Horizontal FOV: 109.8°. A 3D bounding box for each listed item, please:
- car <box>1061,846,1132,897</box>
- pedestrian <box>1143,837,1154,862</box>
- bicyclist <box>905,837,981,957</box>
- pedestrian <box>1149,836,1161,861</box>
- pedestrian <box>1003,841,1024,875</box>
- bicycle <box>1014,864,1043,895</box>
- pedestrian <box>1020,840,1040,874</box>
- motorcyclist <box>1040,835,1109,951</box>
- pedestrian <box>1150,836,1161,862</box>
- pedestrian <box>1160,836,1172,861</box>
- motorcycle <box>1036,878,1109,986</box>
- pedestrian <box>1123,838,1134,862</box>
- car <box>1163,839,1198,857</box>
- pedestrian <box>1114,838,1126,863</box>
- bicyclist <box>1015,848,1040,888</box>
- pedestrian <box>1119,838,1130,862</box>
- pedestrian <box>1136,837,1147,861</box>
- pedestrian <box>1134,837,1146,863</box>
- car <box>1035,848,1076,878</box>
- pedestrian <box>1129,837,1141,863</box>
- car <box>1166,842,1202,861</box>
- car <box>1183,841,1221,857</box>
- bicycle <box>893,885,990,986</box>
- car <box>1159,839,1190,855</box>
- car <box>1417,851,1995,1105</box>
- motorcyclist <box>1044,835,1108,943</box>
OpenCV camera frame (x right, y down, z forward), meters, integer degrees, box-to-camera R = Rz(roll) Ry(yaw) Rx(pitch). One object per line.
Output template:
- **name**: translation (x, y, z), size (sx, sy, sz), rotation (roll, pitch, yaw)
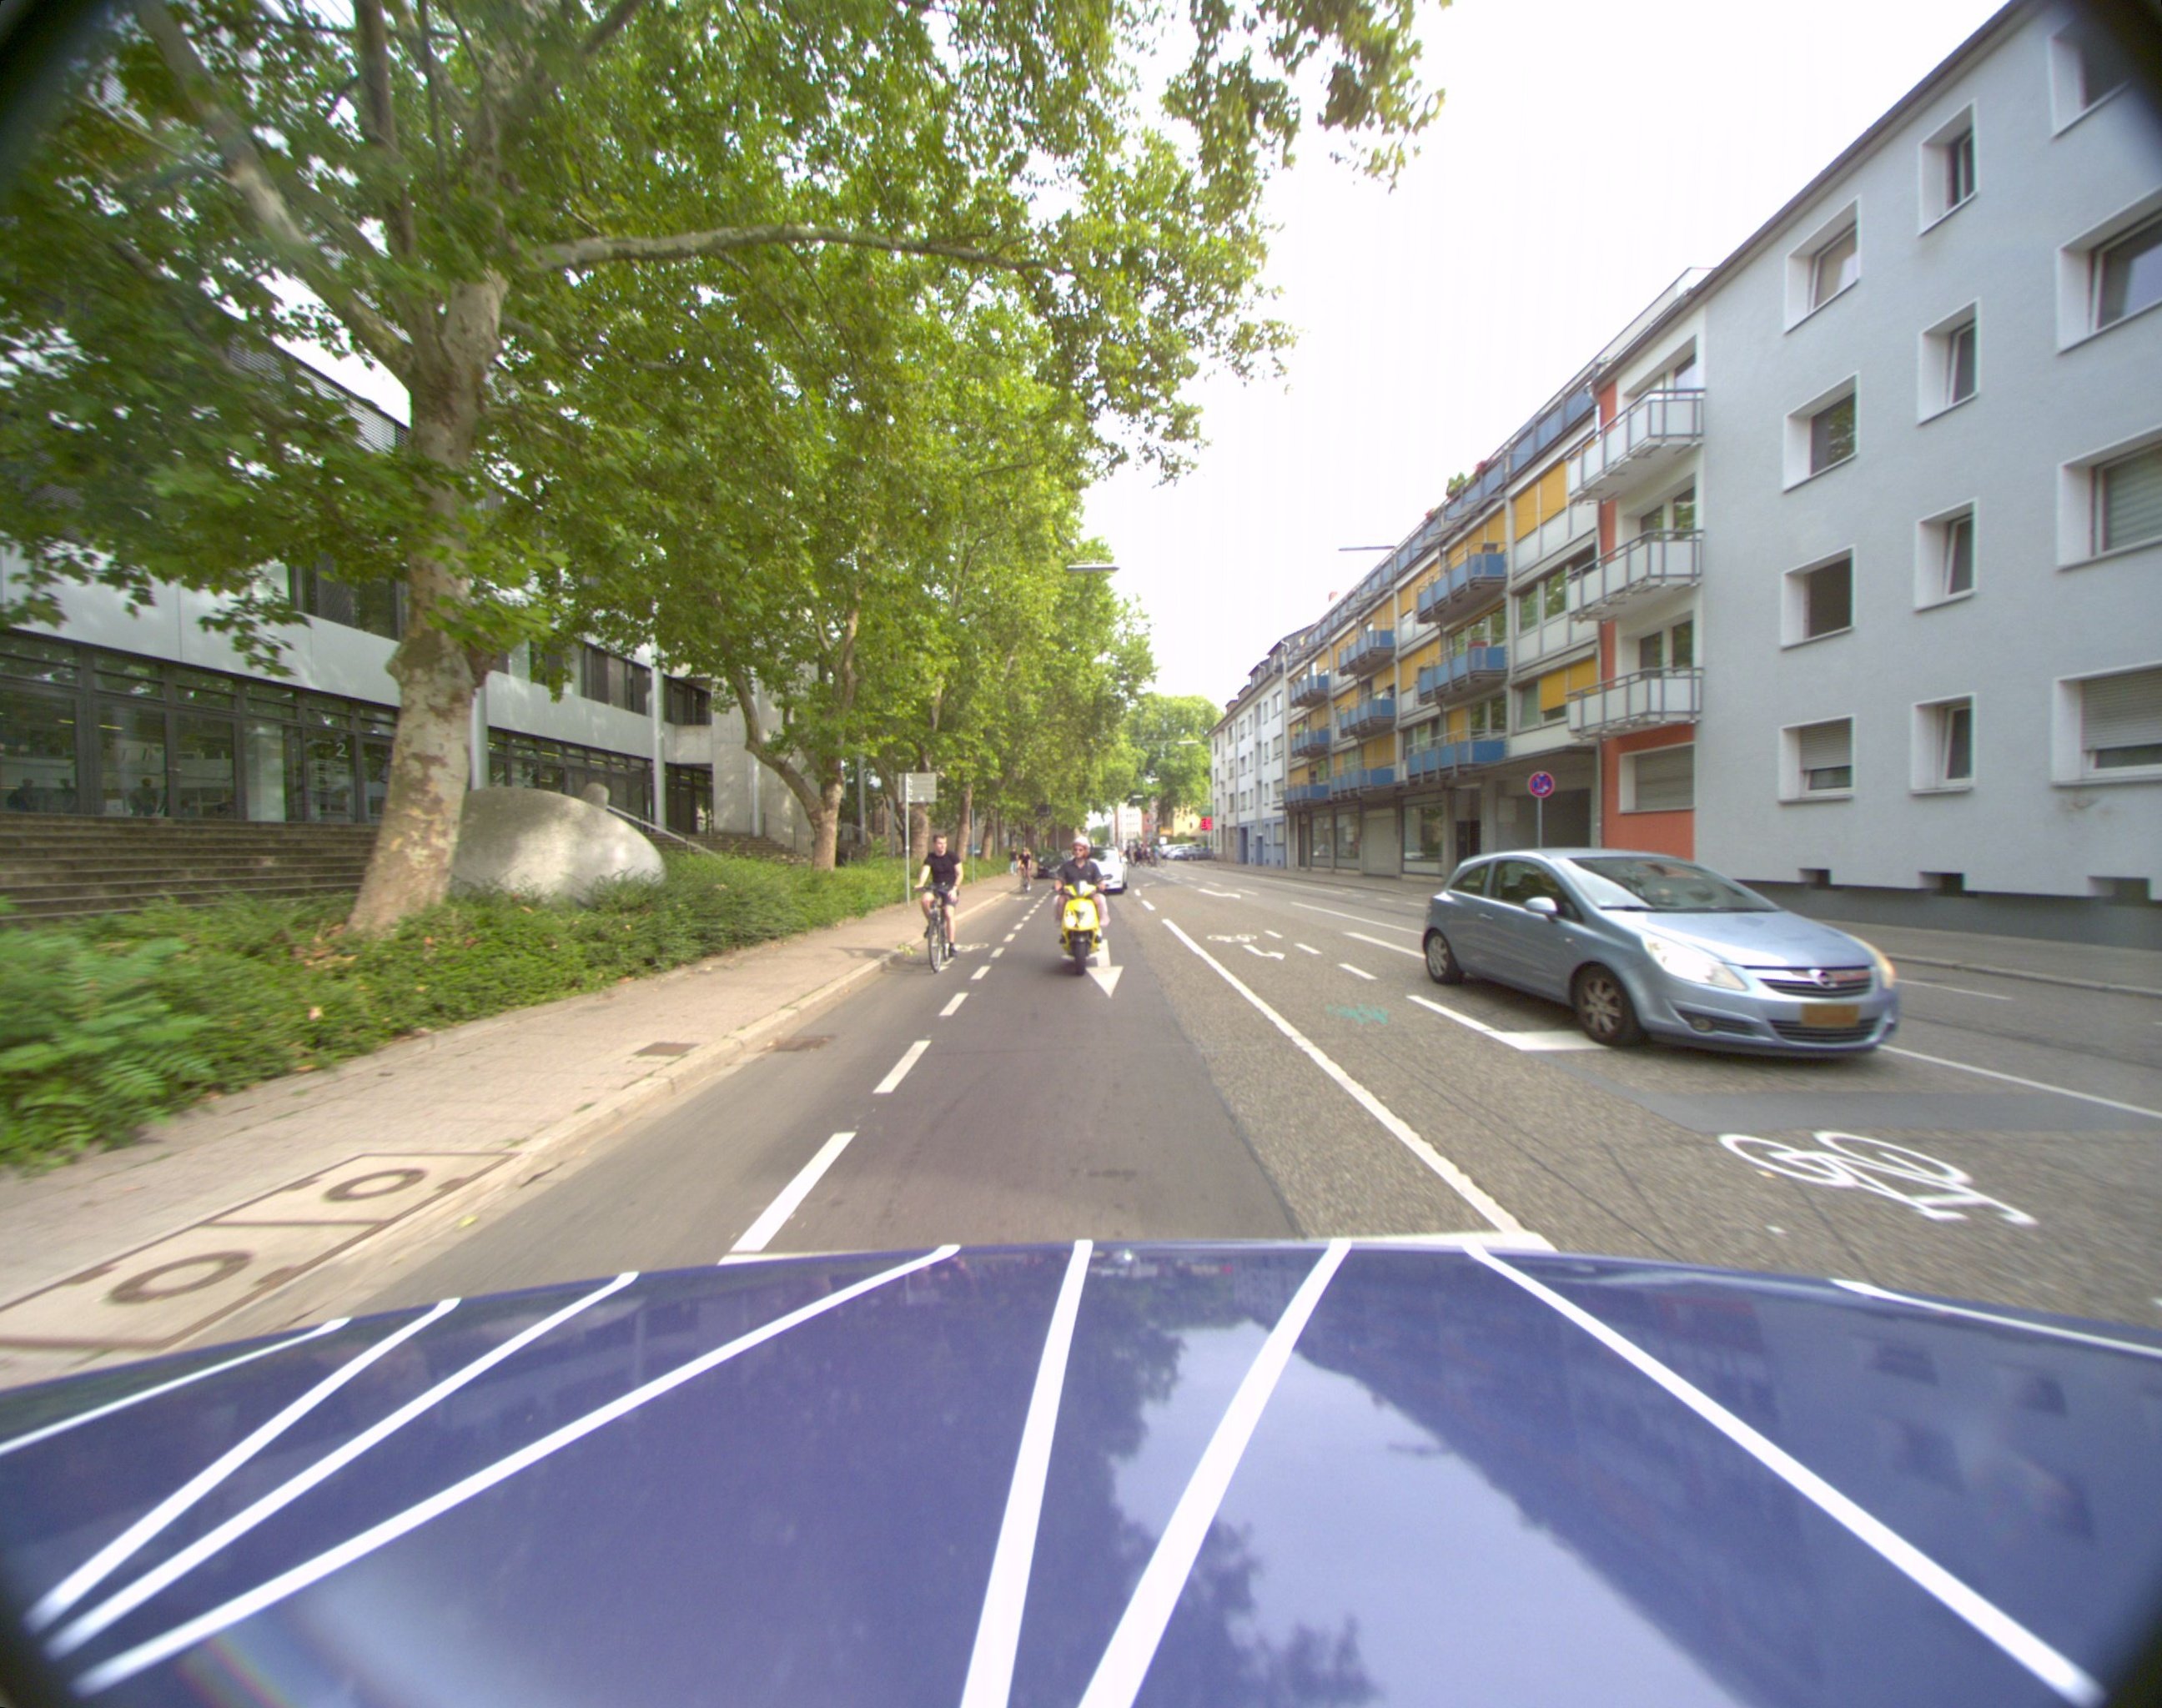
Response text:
- **car**: translation (0.635, 0.545, 26.710), size (1.997, 1.543, 4.523), rotation (-2, 1, 7)
- **pedestrian**: translation (5.600, -0.407, 62.804), size (0.842, 2.002, 0.875), rotation (-2, 1, 5)
- **bicyclist**: translation (-1.906, 0.581, 10.619), size (0.773, 1.574, 0.801), rotation (-3, 1, 4)
- **pedestrian**: translation (6.164, -0.438, 63.252), size (0.842, 2.002, 0.875), rotation (-2, 1, 5)
- **pedestrian**: translation (-4.086, 0.235, 46.074), size (1.003, 2.002, 0.997), rotation (-3, 1, 2)
- **bicycle**: translation (-1.964, 0.930, 28.637), size (0.770, 1.009, 2.408), rotation (-3, 1, 3)
- **pedestrian**: translation (-3.091, 0.200, 46.110), size (1.003, 2.002, 0.997), rotation (-3, 1, 2)
- **motorcyclist**: translation (-0.069, 0.488, 9.865), size (0.781, 1.419, 0.764), rotation (-3, 1, 3)
- **pedestrian**: translation (5.979, -0.400, 60.927), size (0.842, 2.002, 0.875), rotation (-2, 1, 5)
- **pedestrian**: translation (6.845, -0.440, 61.028), size (0.842, 2.002, 0.875), rotation (-2, 1, 5)
- **motorcycle**: translation (-0.066, 0.955, 9.977), size (0.781, 1.171, 1.993), rotation (-3, 0, 3)
- **pedestrian**: translation (3.957, -0.341, 63.438), size (0.842, 2.002, 0.875), rotation (-2, 1, 5)
- **car**: translation (12.285, -0.784, 93.881), size (3.997, 2.002, 2.000), rotation (-3, 1, 0)
- **pedestrian**: translation (3.215, -0.298, 62.749), size (0.842, 2.002, 0.875), rotation (-2, 1, 5)
- **bicyclist**: translation (-1.996, 0.531, 28.607), size (0.784, 1.438, 0.914), rotation (-3, 1, 2)
- **pedestrian**: translation (3.670, -0.339, 64.266), size (0.842, 2.002, 0.875), rotation (-2, 1, 5)
- **pedestrian**: translation (5.126, -0.409, 64.572), size (0.842, 2.002, 0.875), rotation (-2, 1, 5)
- **pedestrian**: translation (4.746, -0.341, 60.737), size (0.842, 2.002, 0.875), rotation (-2, 1, 5)
- **car**: translation (-1.406, 0.472, 44.217), size (1.998, 1.533, 4.271), rotation (-3, 1, 2)
- **pedestrian**: translation (4.366, -0.334, 61.473), size (0.842, 2.002, 0.875), rotation (-2, 1, 5)
- **car**: translation (12.316, -0.298, 91.268), size (3.997, 2.002, 2.000), rotation (-3, 1, 0)
- **car**: translation (13.753, -0.591, 86.470), size (3.870, 1.678, 1.882), rotation (-3, 1, 0)
- **bicycle**: translation (-1.876, 1.072, 10.563), size (0.772, 1.124, 2.004), rotation (-3, 1, 4)
- **car**: translation (12.672, -0.966, 103.164), size (3.997, 2.002, 2.000), rotation (-3, 1, 0)
- **car**: translation (4.482, 0.717, 6.337), size (1.673, 1.430, 3.819), rotation (-1, 1, 0)
- **motorcyclist**: translation (-0.051, 0.467, 10.511), size (0.781, 1.419, 0.689), rotation (-3, 1, 3)
